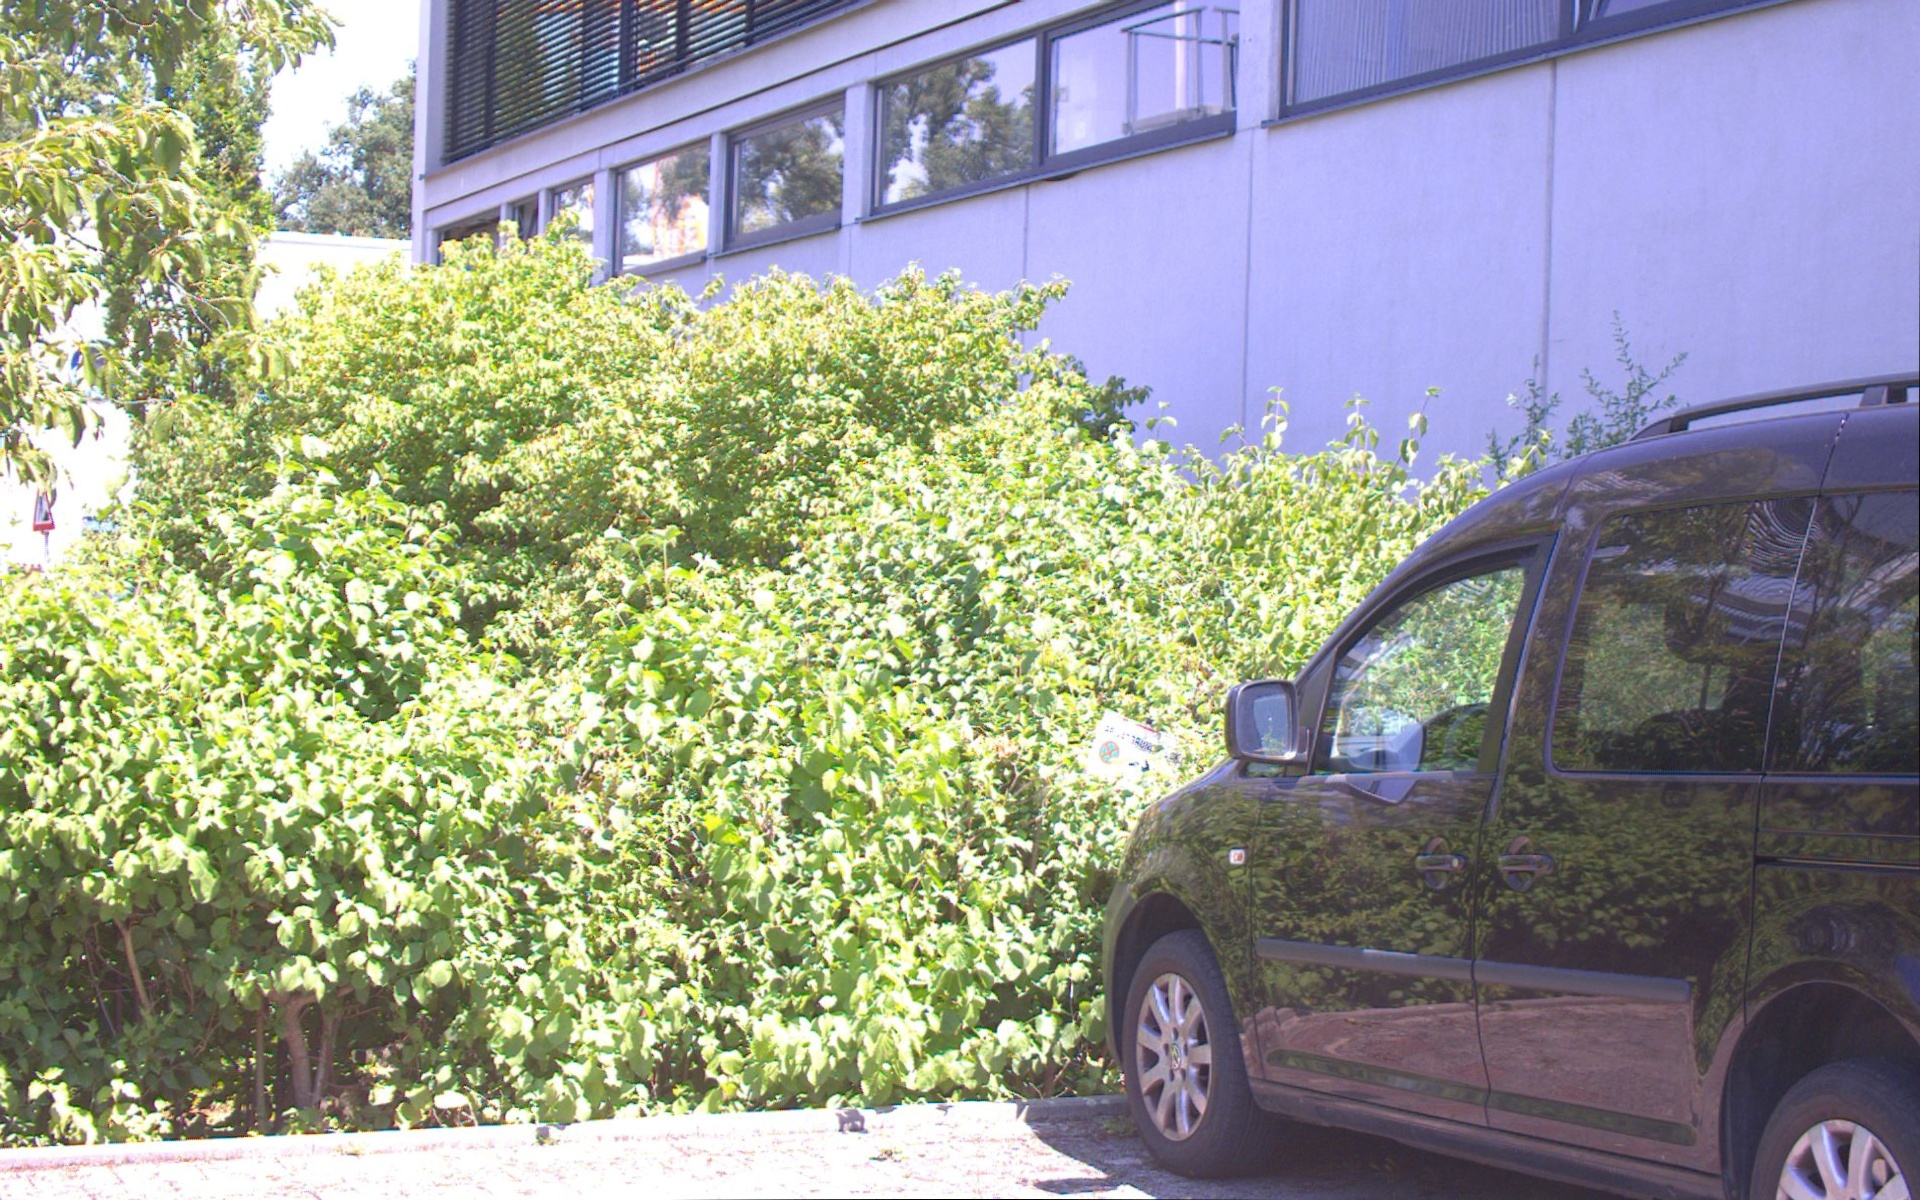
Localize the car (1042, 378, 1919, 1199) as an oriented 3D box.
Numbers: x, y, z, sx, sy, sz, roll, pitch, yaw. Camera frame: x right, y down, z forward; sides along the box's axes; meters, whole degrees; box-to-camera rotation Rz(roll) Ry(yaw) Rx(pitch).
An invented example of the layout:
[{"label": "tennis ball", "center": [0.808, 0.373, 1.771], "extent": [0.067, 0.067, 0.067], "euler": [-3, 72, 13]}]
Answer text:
[{"label": "car", "center": [1.839, 0.532, 7.432], "extent": [1.743, 1.831, 4.001], "euler": [0, 0, -24]}]
